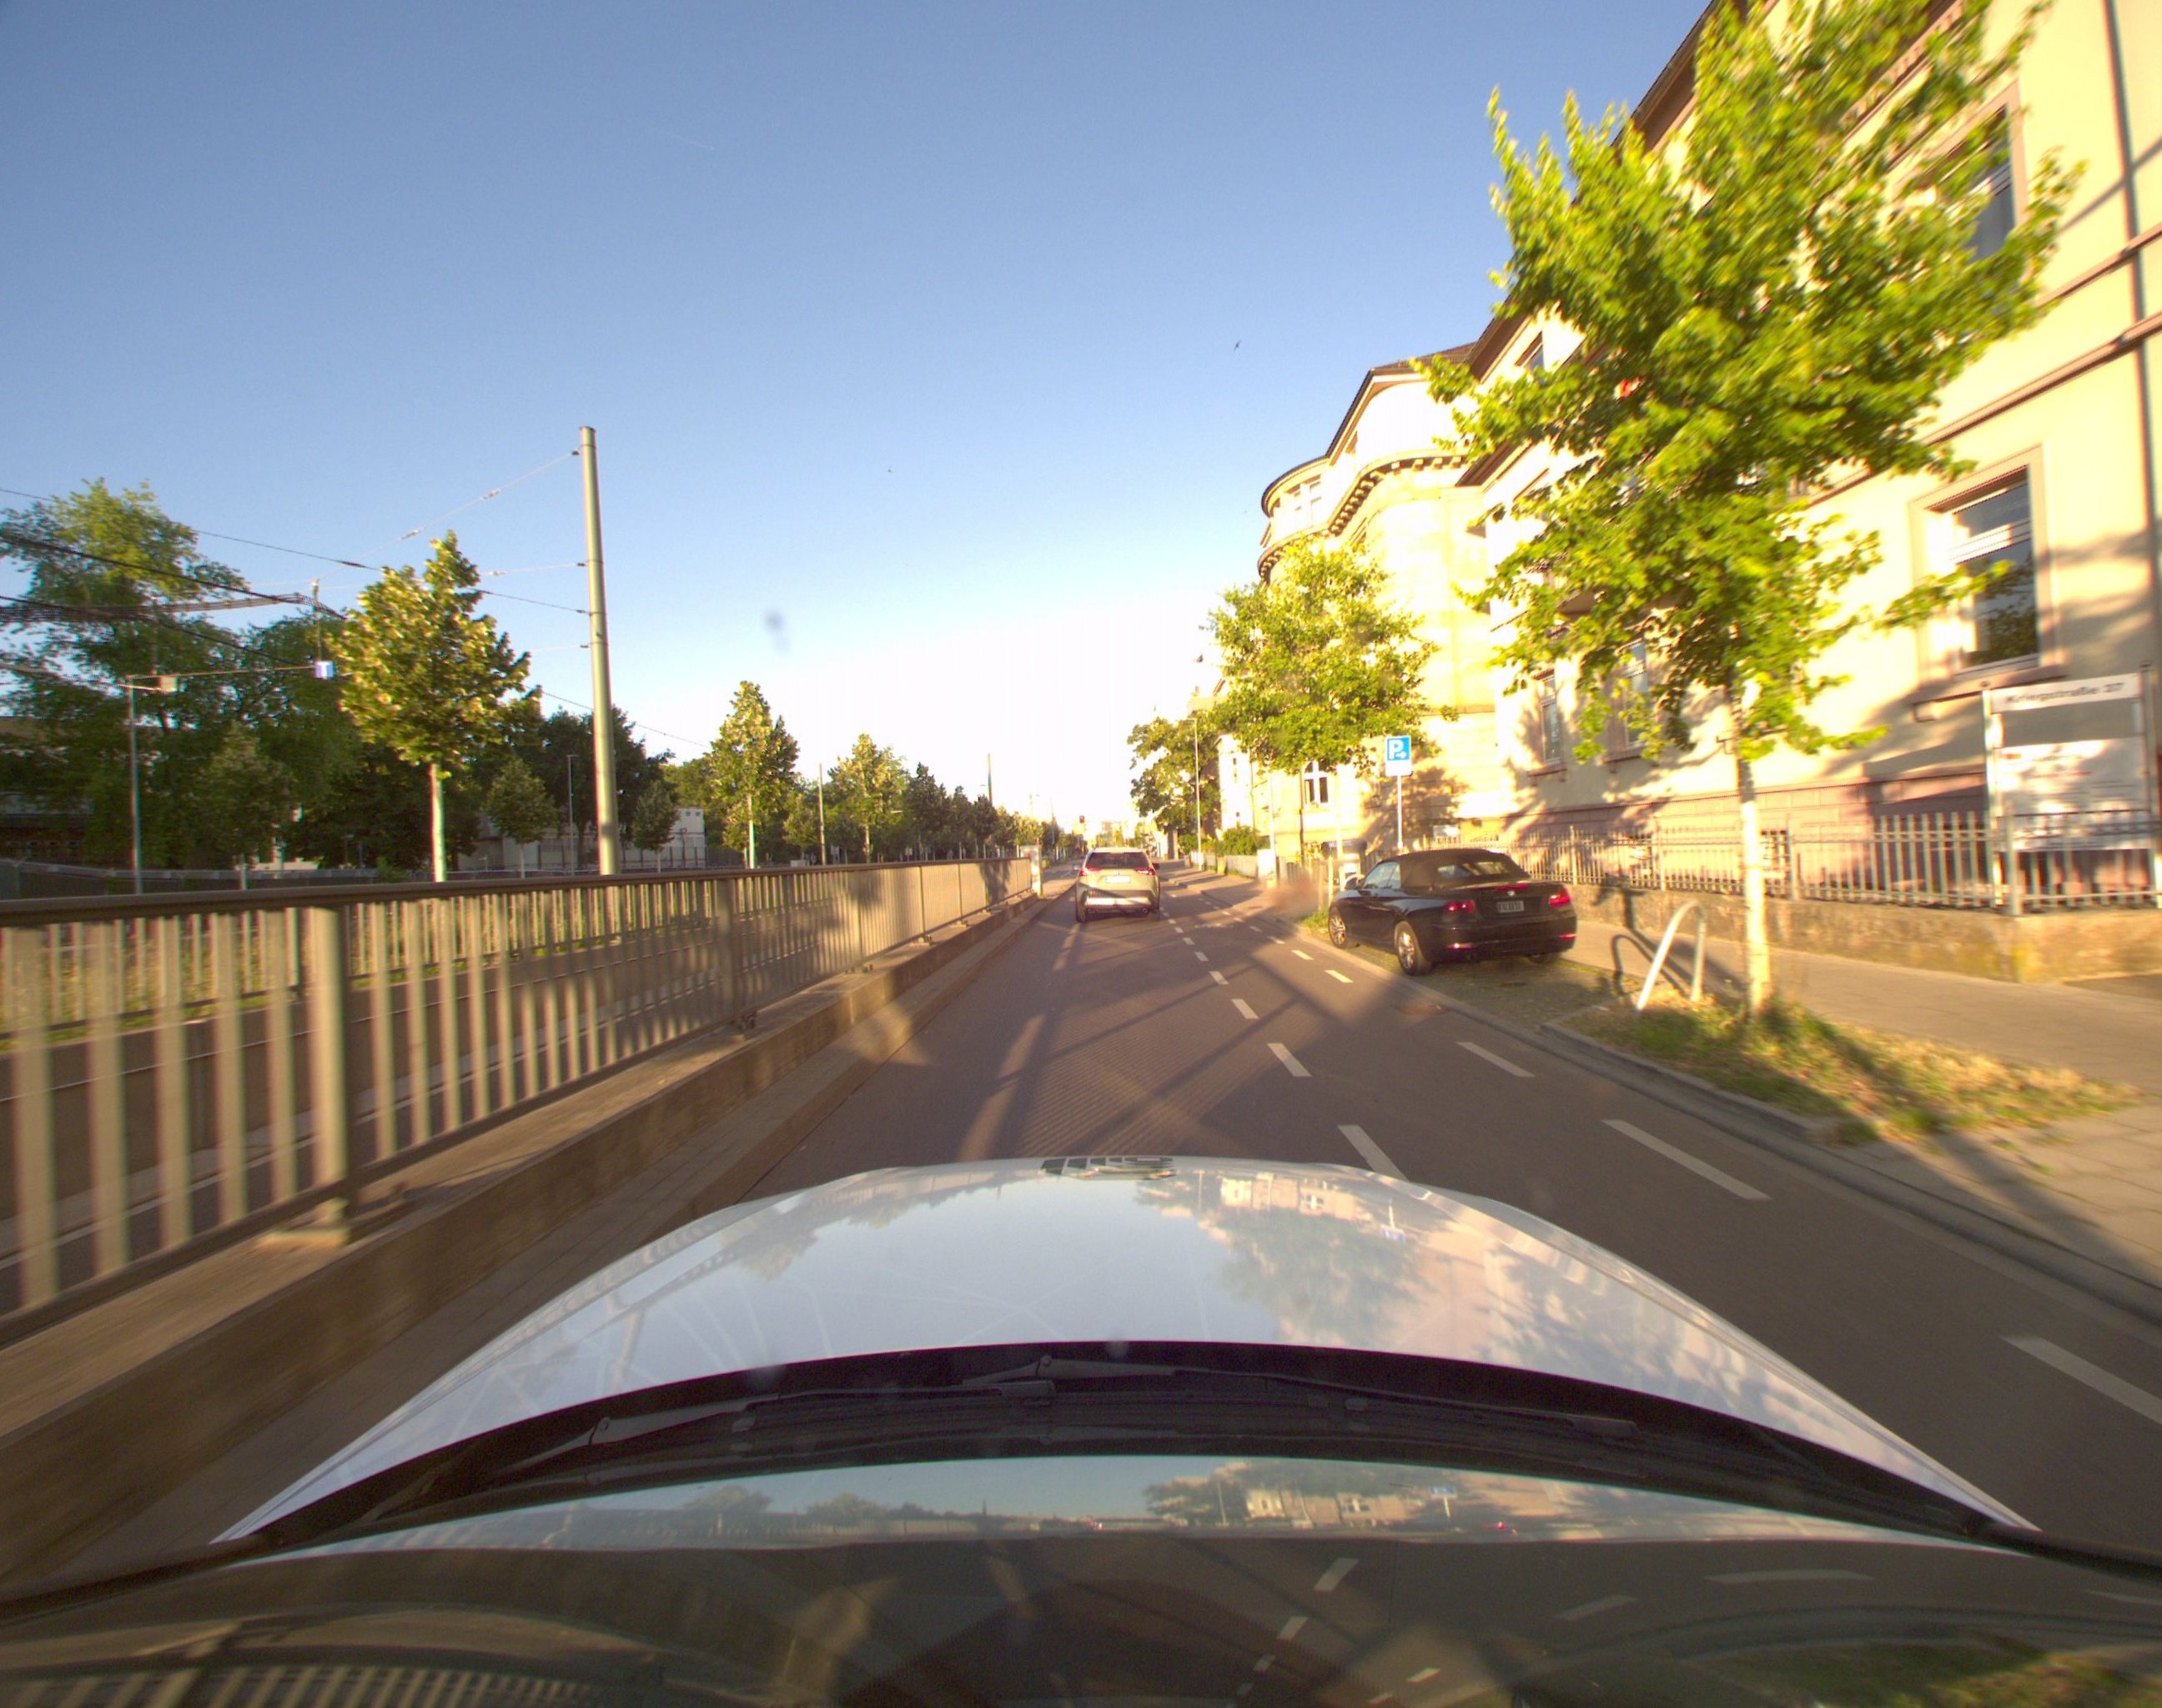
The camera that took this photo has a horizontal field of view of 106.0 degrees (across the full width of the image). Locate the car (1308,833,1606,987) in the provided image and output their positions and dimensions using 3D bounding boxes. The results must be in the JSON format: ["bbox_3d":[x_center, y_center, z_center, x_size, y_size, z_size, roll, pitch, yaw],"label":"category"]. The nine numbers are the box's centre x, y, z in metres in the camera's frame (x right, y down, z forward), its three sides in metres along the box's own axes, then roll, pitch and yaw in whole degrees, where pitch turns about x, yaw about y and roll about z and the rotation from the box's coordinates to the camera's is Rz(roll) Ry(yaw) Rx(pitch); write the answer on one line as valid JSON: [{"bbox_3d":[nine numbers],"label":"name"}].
[{"bbox_3d":[4.627,0.591,10.892,1.787,1.471,4.444,-6,0,-1],"label":"car"}]

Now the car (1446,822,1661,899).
[{"bbox_3d":[11.680,0.164,20.377,4.176,1.571,1.919,-4,0,4],"label":"car"}]

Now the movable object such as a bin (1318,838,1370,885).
[{"bbox_3d":[8.568,0.245,26.592,1.256,1.462,1.123,-2,0,-1],"label":"movable object such as a bin"}]

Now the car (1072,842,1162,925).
[{"bbox_3d":[0.777,0.624,19.195,1.851,1.714,4.192,-1,0,0],"label":"car"}]
